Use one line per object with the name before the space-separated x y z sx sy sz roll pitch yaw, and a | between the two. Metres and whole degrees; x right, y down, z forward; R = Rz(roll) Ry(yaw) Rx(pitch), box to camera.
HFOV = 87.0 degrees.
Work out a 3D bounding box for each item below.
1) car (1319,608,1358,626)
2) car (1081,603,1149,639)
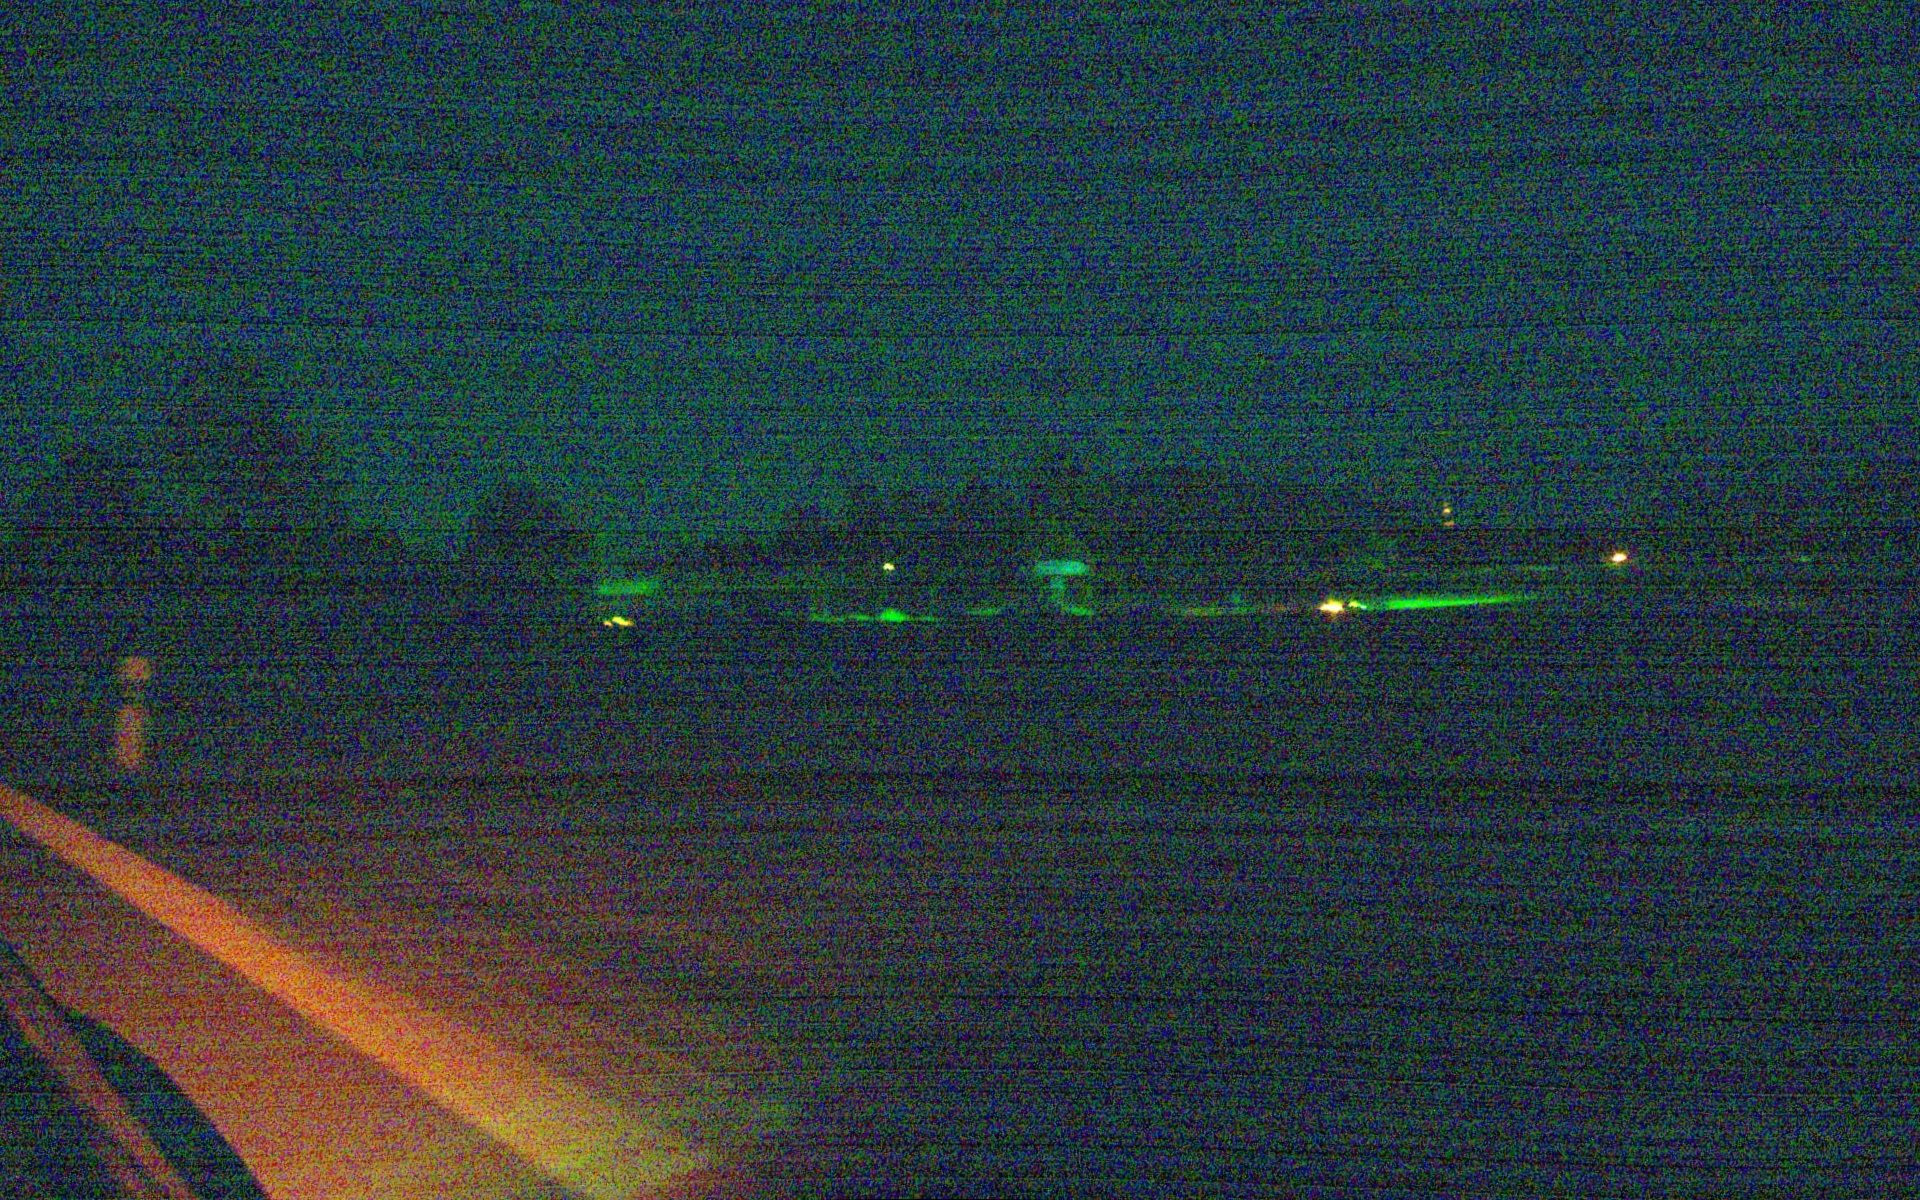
car | 41.923 1.866 112.139 3.931 1.798 1.883 3 0 -28
car | 8.470 1.179 55.624 1.785 1.901 4.013 1 -2 -25
